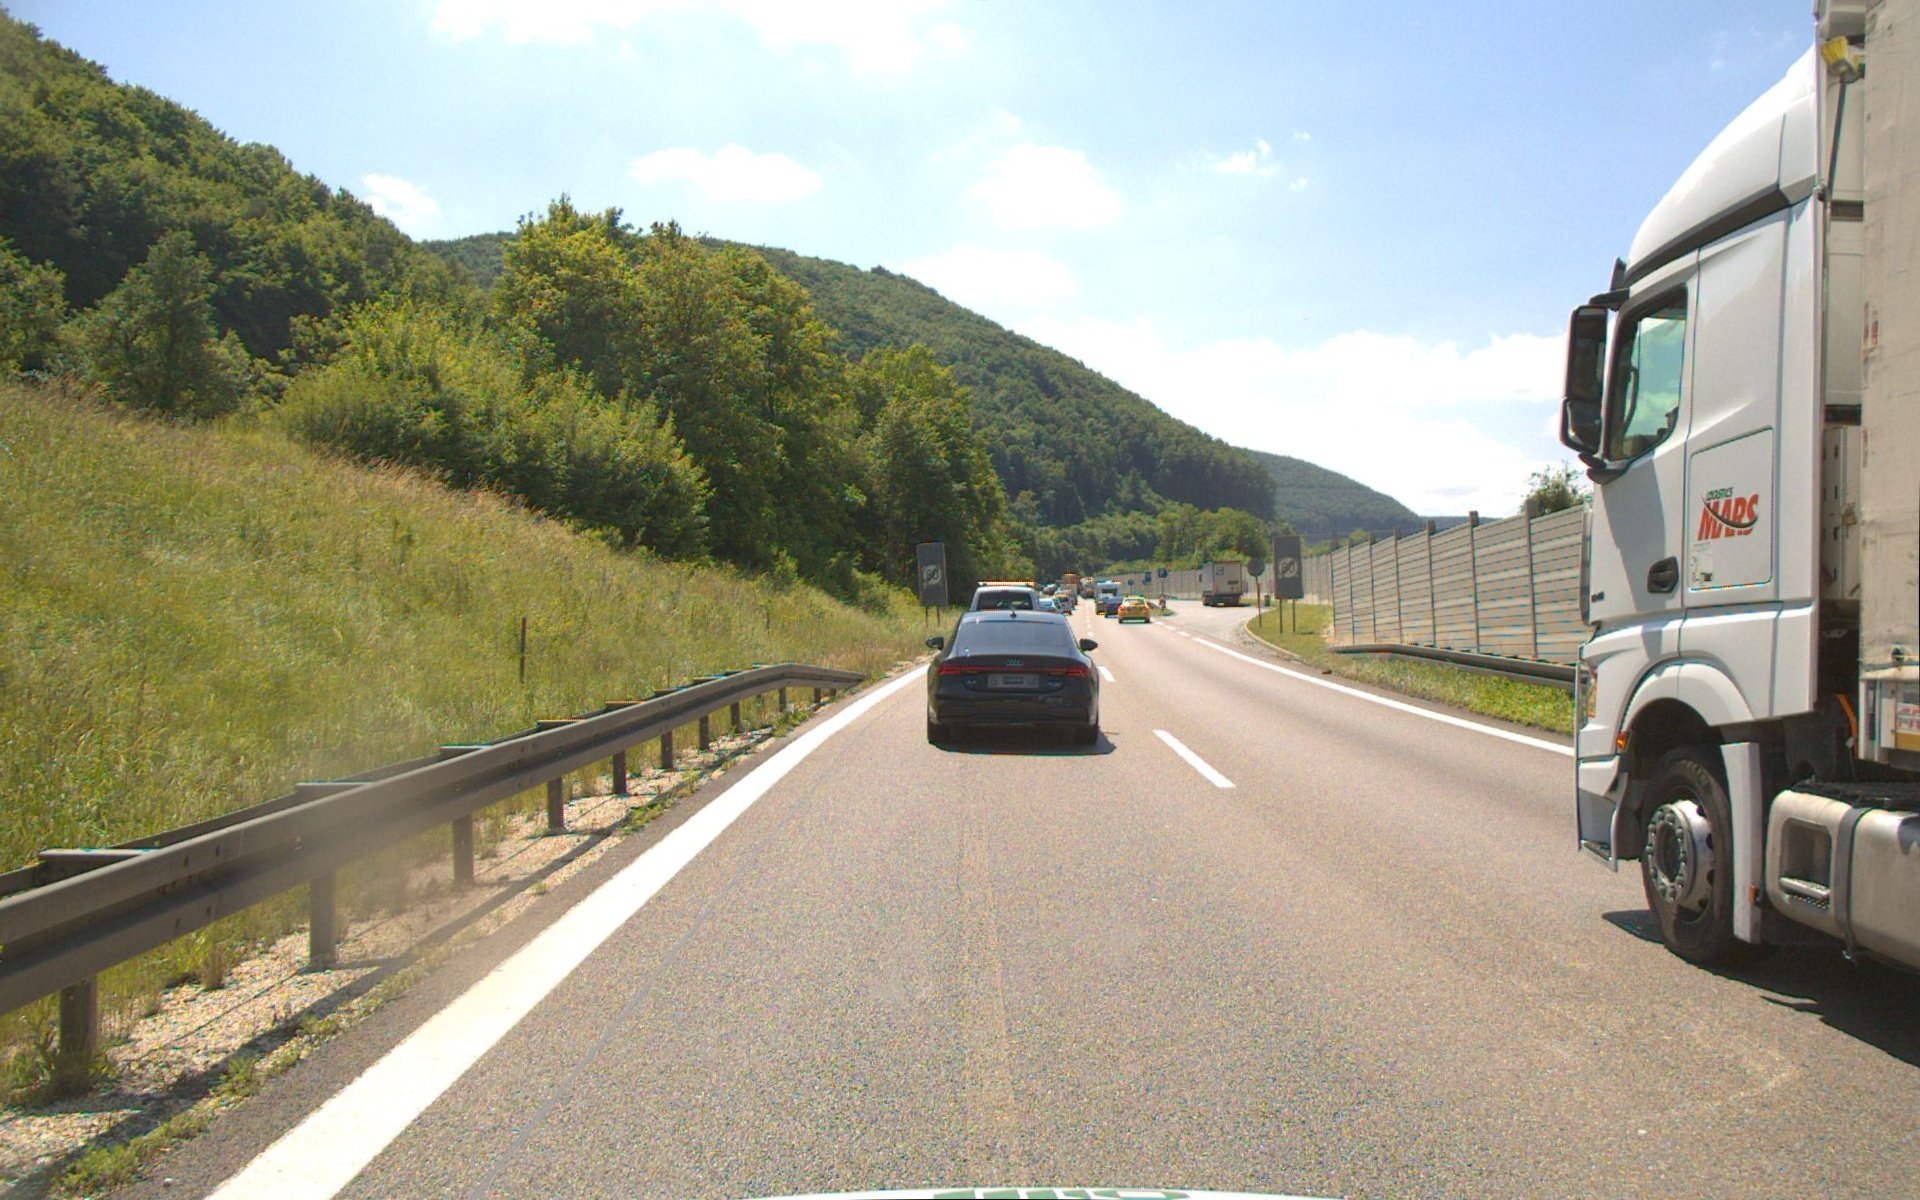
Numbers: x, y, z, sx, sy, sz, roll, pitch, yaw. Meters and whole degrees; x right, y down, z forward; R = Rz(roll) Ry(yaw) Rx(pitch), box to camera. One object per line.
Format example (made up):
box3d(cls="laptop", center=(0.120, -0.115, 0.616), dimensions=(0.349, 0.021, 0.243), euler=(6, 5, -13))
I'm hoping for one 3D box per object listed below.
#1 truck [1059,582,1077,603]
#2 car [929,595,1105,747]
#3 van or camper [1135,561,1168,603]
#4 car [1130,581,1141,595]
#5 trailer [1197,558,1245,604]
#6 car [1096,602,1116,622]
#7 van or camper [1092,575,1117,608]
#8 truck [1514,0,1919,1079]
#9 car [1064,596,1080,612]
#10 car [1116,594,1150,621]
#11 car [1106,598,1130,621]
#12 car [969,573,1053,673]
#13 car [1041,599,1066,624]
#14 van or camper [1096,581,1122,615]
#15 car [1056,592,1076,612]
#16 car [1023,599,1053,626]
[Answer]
box3d(cls="truck", center=(14.257, -0.948, 218.182), dimensions=(2.021, 2.651, 5.617), euler=(2, 0, 6))
box3d(cls="car", center=(0.601, 0.721, 18.486), dimensions=(1.774, 1.541, 3.514), euler=(0, 0, 1))
box3d(cls="van or camper", center=(18.711, -1.735, 161.569), dimensions=(2.736, 3.909, 6.169), euler=(1, -1, 3))
box3d(cls="car", center=(25.508, -1.700, 240.762), dimensions=(1.543, 2.049, 3.430), euler=(-1, 0, 5))
box3d(cls="trailer", center=(23.873, -1.705, 151.817), dimensions=(3.340, 3.968, 11.157), euler=(0, 0, 4))
box3d(cls="car", center=(11.805, 0.983, 133.767), dimensions=(1.498, 1.552, 3.598), euler=(1, -1, 4))
box3d(cls="van or camper", center=(18.191, -1.047, 208.665), dimensions=(2.736, 3.975, 6.169), euler=(1, -1, 3))
box3d(cls="truck", center=(4.371, -0.535, 5.887), dimensions=(2.665, 4.139, 5.751), euler=(0, -1, -3))
box3d(cls="car", center=(11.597, 0.373, 170.787), dimensions=(1.489, 1.580, 3.516), euler=(2, 0, 6))
box3d(cls="car", center=(9.964, 0.411, 95.524), dimensions=(1.839, 1.525, 4.002), euler=(0, 0, 5))
box3d(cls="car", center=(10.780, 0.657, 113.063), dimensions=(1.498, 1.552, 3.598), euler=(1, -1, 4))
box3d(cls="car", center=(1.141, 0.477, 35.777), dimensions=(1.489, 2.003, 3.516), euler=(2, 0, 6))
box3d(cls="car", center=(6.243, 0.767, 110.276), dimensions=(1.489, 1.580, 3.516), euler=(2, 0, 5))
box3d(cls="van or camper", center=(14.542, -0.153, 161.350), dimensions=(2.378, 3.210, 5.206), euler=(1, -1, 4))
box3d(cls="car", center=(8.714, 0.170, 136.185), dimensions=(1.489, 1.580, 3.516), euler=(2, 0, 6))
box3d(cls="car", center=(4.060, 0.641, 86.228), dimensions=(1.489, 1.317, 3.515), euler=(1, 0, 2))
